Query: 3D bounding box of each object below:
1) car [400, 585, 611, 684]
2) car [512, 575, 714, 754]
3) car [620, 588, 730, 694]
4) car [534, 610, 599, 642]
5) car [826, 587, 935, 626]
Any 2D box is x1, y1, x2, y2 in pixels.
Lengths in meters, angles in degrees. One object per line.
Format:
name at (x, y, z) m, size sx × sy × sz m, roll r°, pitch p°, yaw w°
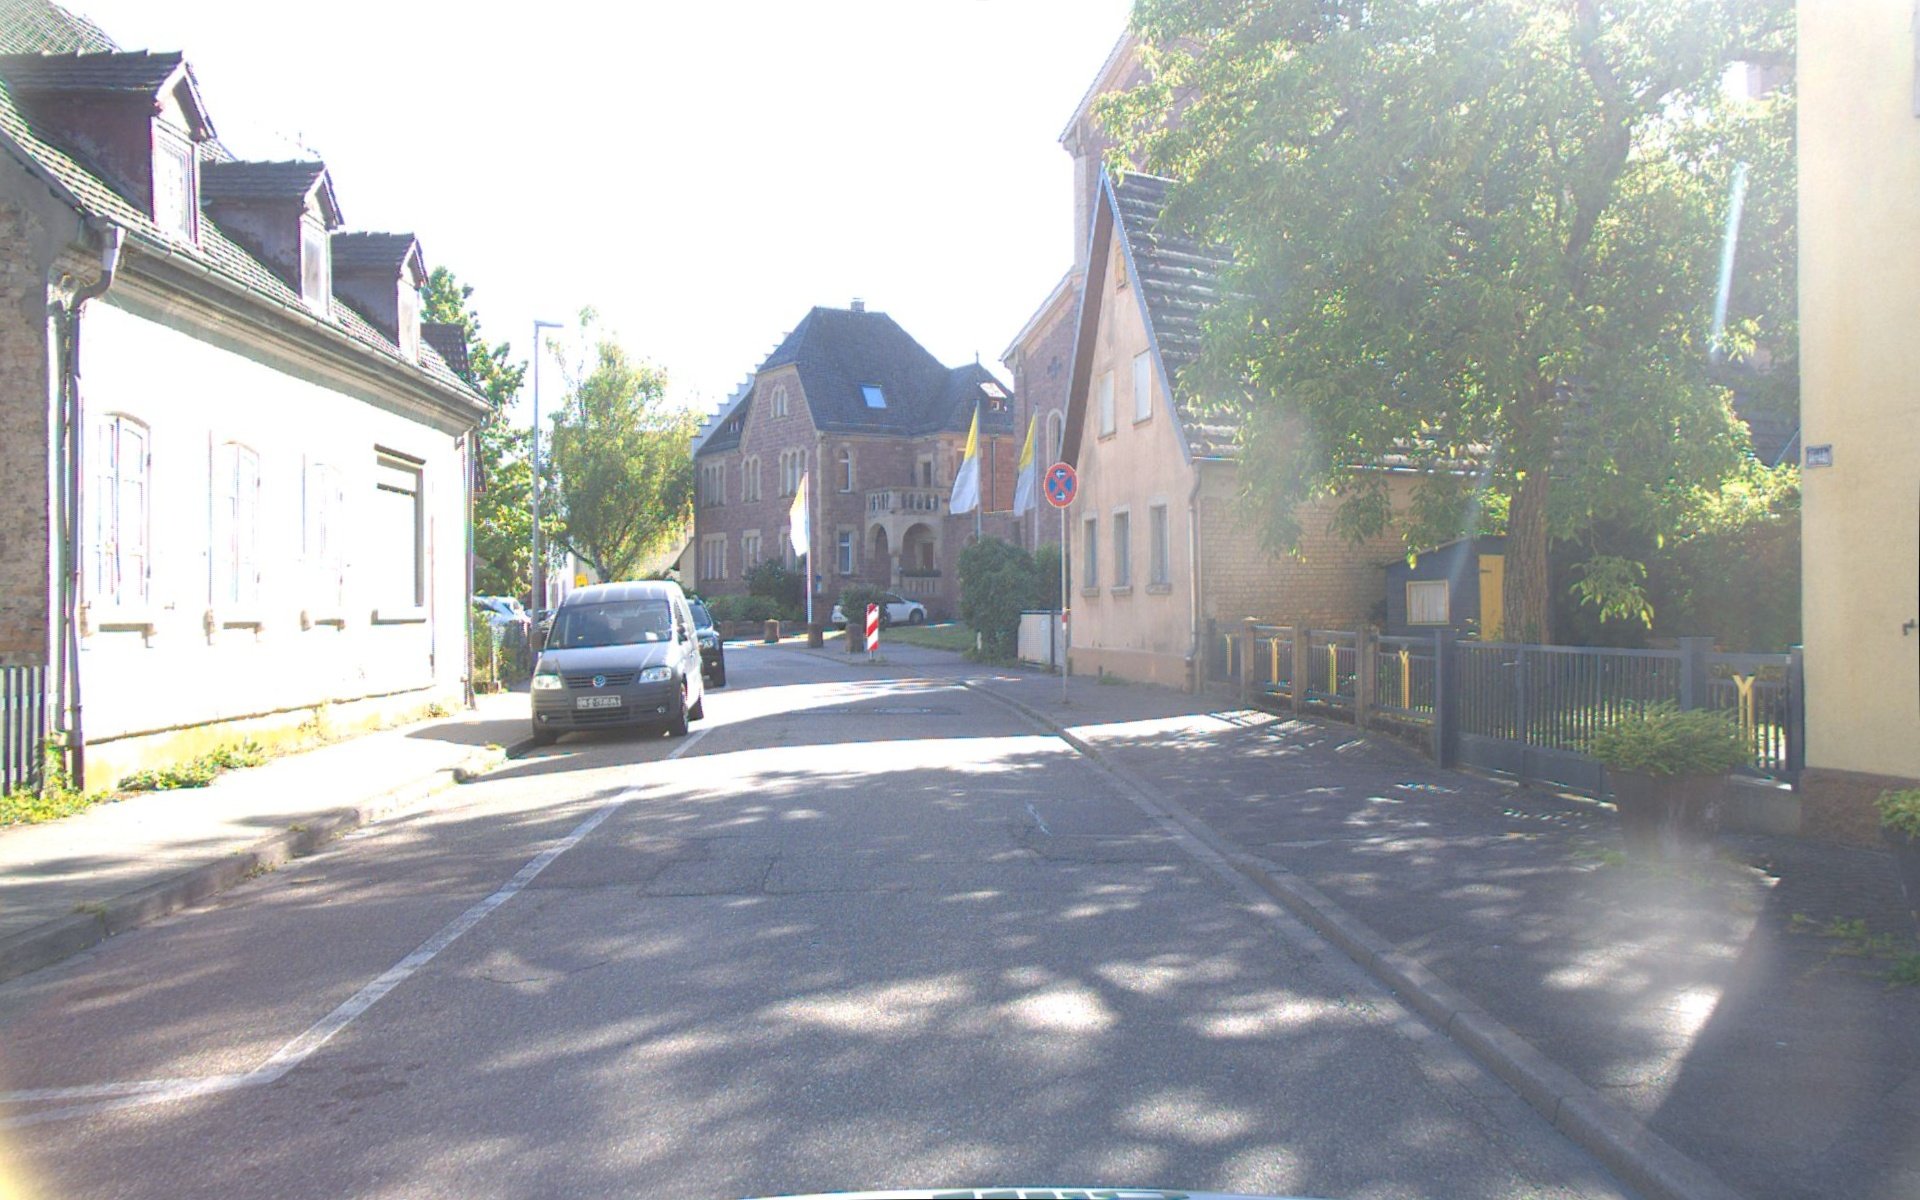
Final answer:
car at (-9.658, 0.709, 35.117) m, size 4.128 × 1.762 × 1.821 m, roll -4°, pitch 1°, yaw -20°
car at (-4.116, 0.684, 20.249) m, size 1.790 × 1.845 × 4.198 m, roll -4°, pitch 1°, yaw -5°
car at (-5.491, 0.718, 31.549) m, size 1.794 × 1.762 × 4.189 m, roll -4°, pitch 1°, yaw -12°
car at (-18.540, 1.212, 77.834) m, size 1.696 × 1.425 × 4.200 m, roll -2°, pitch 0°, yaw -32°
car at (-3.228, 0.251, 67.823) m, size 4.198 × 1.425 × 1.697 m, roll -2°, pitch 0°, yaw -35°
